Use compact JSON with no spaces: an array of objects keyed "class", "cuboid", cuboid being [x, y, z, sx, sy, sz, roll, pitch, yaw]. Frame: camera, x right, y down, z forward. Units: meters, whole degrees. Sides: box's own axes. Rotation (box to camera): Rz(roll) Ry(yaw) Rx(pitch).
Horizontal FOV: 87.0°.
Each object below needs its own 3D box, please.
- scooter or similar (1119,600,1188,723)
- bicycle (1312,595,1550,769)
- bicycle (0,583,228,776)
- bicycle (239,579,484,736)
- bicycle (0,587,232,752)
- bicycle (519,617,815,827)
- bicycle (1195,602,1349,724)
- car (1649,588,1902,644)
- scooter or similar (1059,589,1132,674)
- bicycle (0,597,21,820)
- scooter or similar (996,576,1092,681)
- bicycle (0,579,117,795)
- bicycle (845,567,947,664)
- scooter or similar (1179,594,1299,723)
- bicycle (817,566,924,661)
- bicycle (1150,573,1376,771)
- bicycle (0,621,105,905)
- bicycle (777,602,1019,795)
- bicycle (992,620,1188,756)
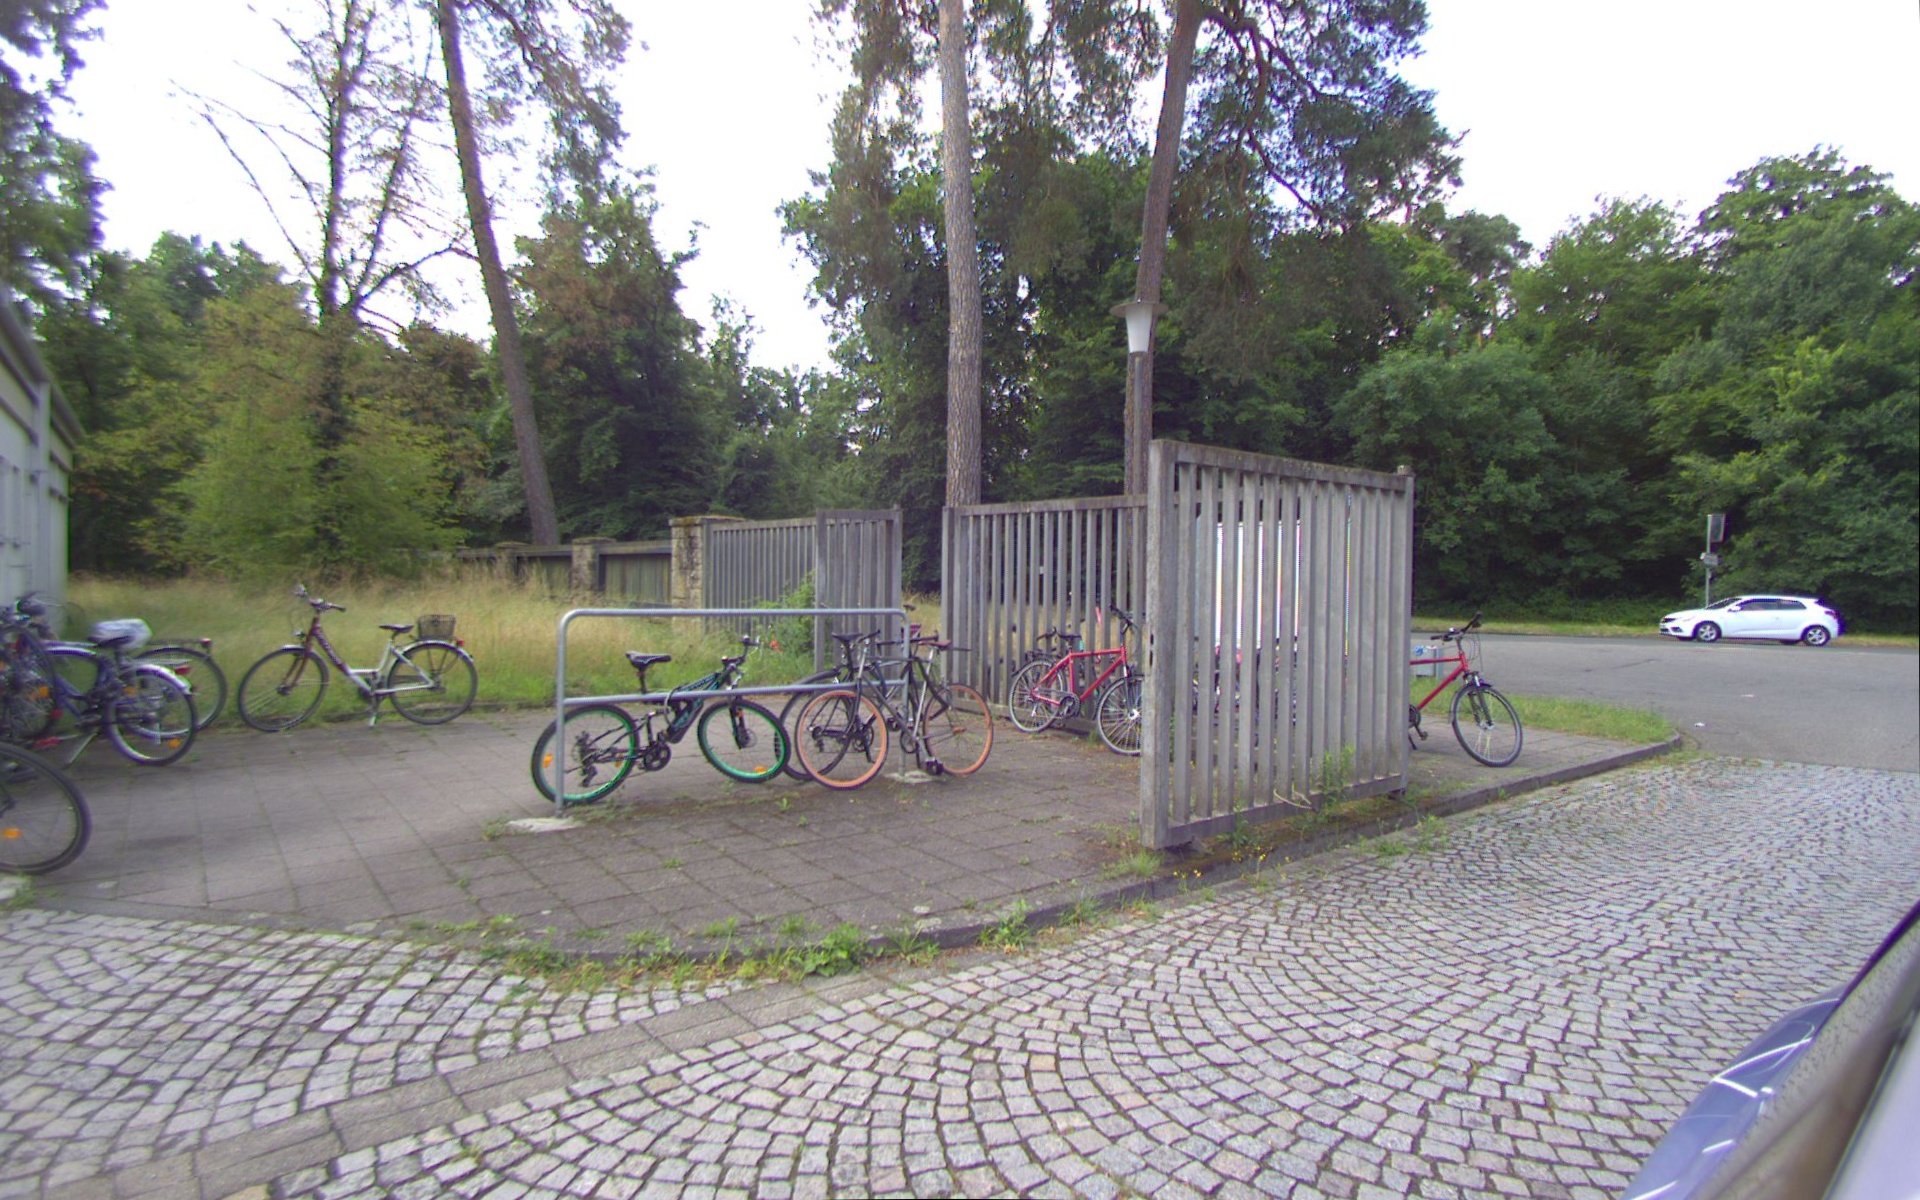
[{"class":"scooter or similar","cuboid":[1.992,0.589,10.348,0.433,1.165,1.242,1,1,23]},{"class":"bicycle","cuboid":[4.091,0.646,8.904,0.661,1.293,1.737,0,3,-43]},{"class":"bicycle","cuboid":[-5.782,0.498,6.713,1.624,1.132,0.436,3,3,6]},{"class":"bicycle","cuboid":[-4.836,0.434,8.286,1.689,1.185,0.437,0,2,-27]},{"class":"bicycle","cuboid":[-6.212,0.458,7.269,1.568,1.097,0.435,-1,2,-42]},{"class":"bicycle","cuboid":[-1.758,0.664,6.179,1.566,1.070,0.731,0,2,-40]},{"class":"bicycle","cuboid":[3.411,0.654,11.203,0.610,1.177,1.613,2,1,-28]},{"class":"car","cuboid":[23.670,0.425,29.649,5.344,1.395,1.988,2,1,20]},{"class":"scooter or similar","cuboid":[2.139,0.481,16.022,0.431,1.243,1.088,-2,4,-44]},{"class":"bicycle","cuboid":[-5.935,0.560,5.605,1.634,1.185,0.433,2,3,23]},{"class":"scooter or similar","cuboid":[1.264,0.414,15.344,0.521,1.434,1.252,16,-8,-37]},{"class":"bicycle","cuboid":[-6.004,0.476,6.159,1.628,1.185,0.435,3,3,13]},{"class":"bicycle","cuboid":[-0.977,0.231,15.887,0.585,1.435,1.776,2,0,35]},{"class":"scooter or similar","cuboid":[2.965,0.591,10.848,0.378,1.261,1.285,1,2,-32]},{"class":"bicycle","cuboid":[-1.413,0.197,16.320,0.574,1.435,1.958,2,1,35]},{"class":"bicycle","cuboid":[2.451,0.507,8.431,0.506,1.434,1.908,-1,3,-34]},{"class":"bicycle","cuboid":[-4.454,0.657,3.955,1.683,1.086,0.731,0,2,-40]},{"class":"bicycle","cuboid":[-0.390,0.632,7.059,1.685,1.185,0.502,1,1,-40]},{"class":"bicycle","cuboid":[1.084,0.713,8.919,0.449,0.980,1.951,0,2,-38]}]
